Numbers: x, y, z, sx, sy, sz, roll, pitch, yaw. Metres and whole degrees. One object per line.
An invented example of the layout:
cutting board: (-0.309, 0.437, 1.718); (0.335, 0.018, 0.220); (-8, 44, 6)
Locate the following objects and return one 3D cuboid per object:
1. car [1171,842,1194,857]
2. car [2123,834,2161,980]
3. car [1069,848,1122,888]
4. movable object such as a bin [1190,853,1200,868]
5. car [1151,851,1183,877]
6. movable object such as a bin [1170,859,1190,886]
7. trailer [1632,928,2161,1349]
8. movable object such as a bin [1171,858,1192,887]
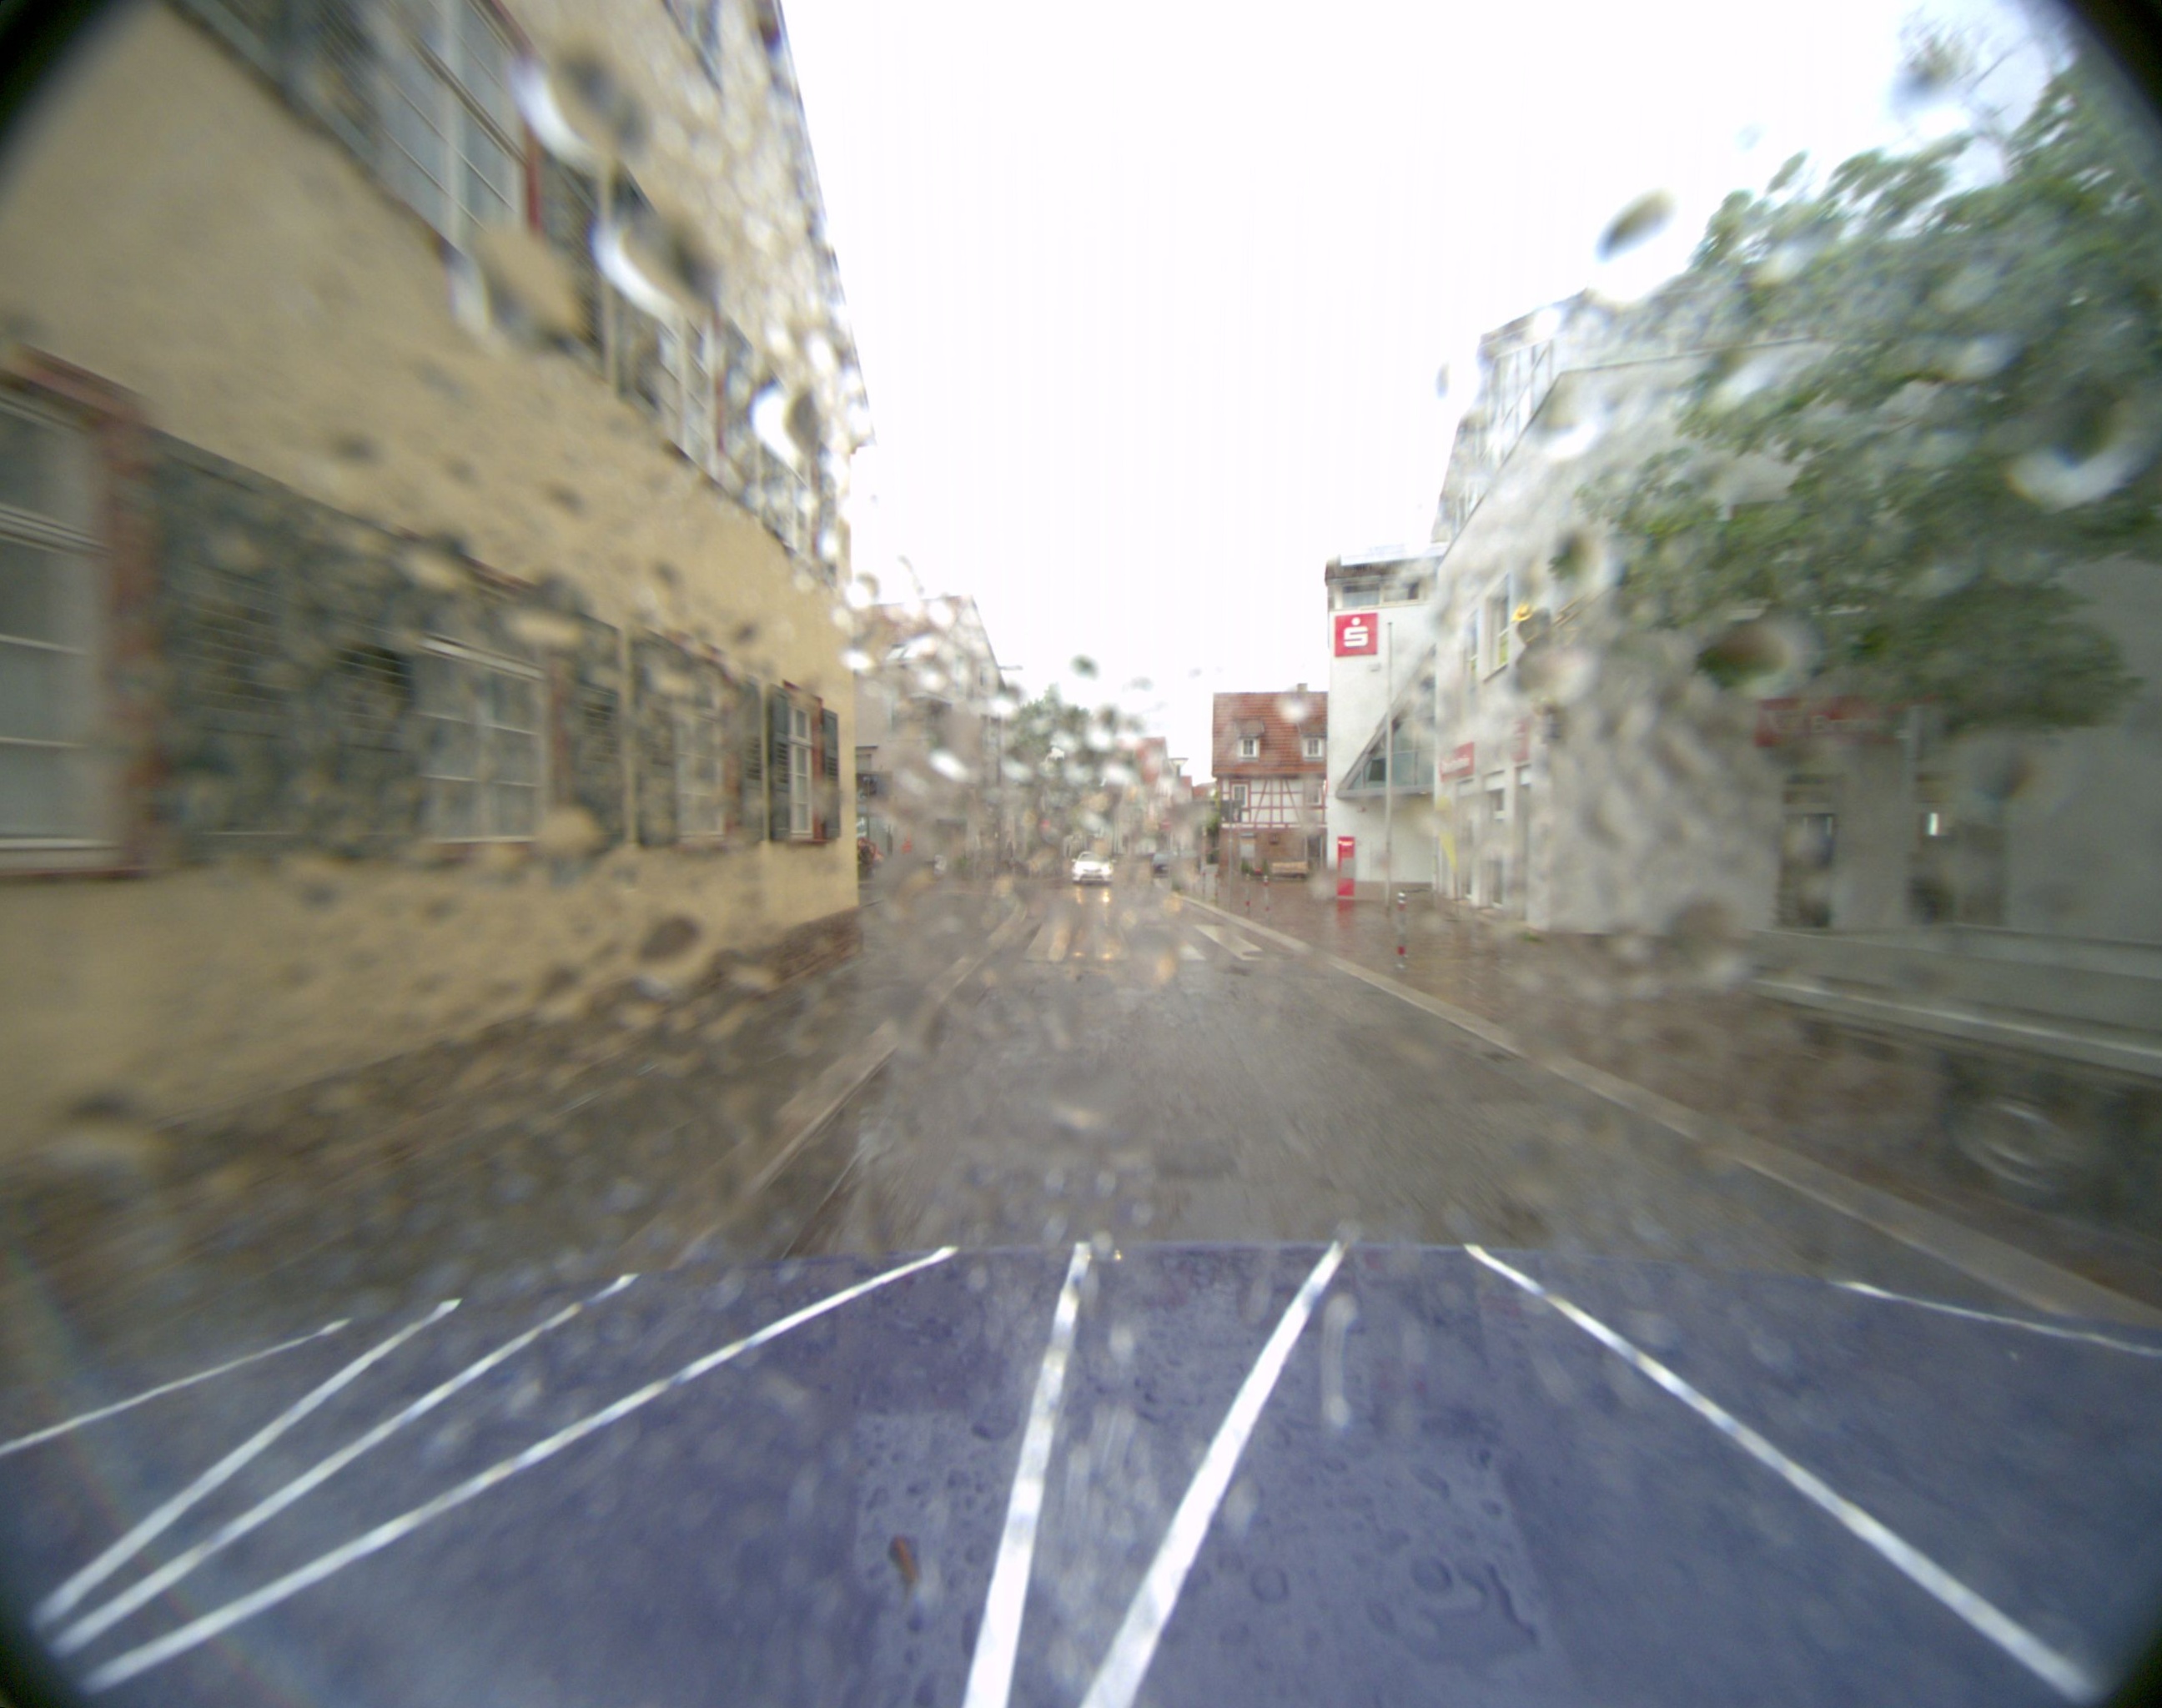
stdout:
car: (10.879, -0.489, 81.455); (1.865, 1.452, 4.004); (1, 1, 16)
car: (13.786, 0.634, 7.330); (4.113, 1.609, 1.858); (1, 1, 14)
car: (0.740, 0.573, 33.988); (1.867, 1.577, 4.616); (1, 1, 7)
movable object such as a bin: (7.531, 0.429, 50.190); (0.612, 1.016, 0.530); (1, 2, 1)
car: (5.218, 0.574, 46.416); (1.806, 1.434, 4.001); (-1, 1, 5)
movable object such as a bin: (3.980, 0.741, 30.528); (0.697, 1.045, 0.645); (1, 2, 1)
trailer: (4.196, 0.968, 2.905); (1.858, 1.118, 3.019); (0, -1, -5)
movable object such as a bin: (3.938, 0.727, 29.748); (0.697, 1.071, 0.645); (-2, 2, 2)
